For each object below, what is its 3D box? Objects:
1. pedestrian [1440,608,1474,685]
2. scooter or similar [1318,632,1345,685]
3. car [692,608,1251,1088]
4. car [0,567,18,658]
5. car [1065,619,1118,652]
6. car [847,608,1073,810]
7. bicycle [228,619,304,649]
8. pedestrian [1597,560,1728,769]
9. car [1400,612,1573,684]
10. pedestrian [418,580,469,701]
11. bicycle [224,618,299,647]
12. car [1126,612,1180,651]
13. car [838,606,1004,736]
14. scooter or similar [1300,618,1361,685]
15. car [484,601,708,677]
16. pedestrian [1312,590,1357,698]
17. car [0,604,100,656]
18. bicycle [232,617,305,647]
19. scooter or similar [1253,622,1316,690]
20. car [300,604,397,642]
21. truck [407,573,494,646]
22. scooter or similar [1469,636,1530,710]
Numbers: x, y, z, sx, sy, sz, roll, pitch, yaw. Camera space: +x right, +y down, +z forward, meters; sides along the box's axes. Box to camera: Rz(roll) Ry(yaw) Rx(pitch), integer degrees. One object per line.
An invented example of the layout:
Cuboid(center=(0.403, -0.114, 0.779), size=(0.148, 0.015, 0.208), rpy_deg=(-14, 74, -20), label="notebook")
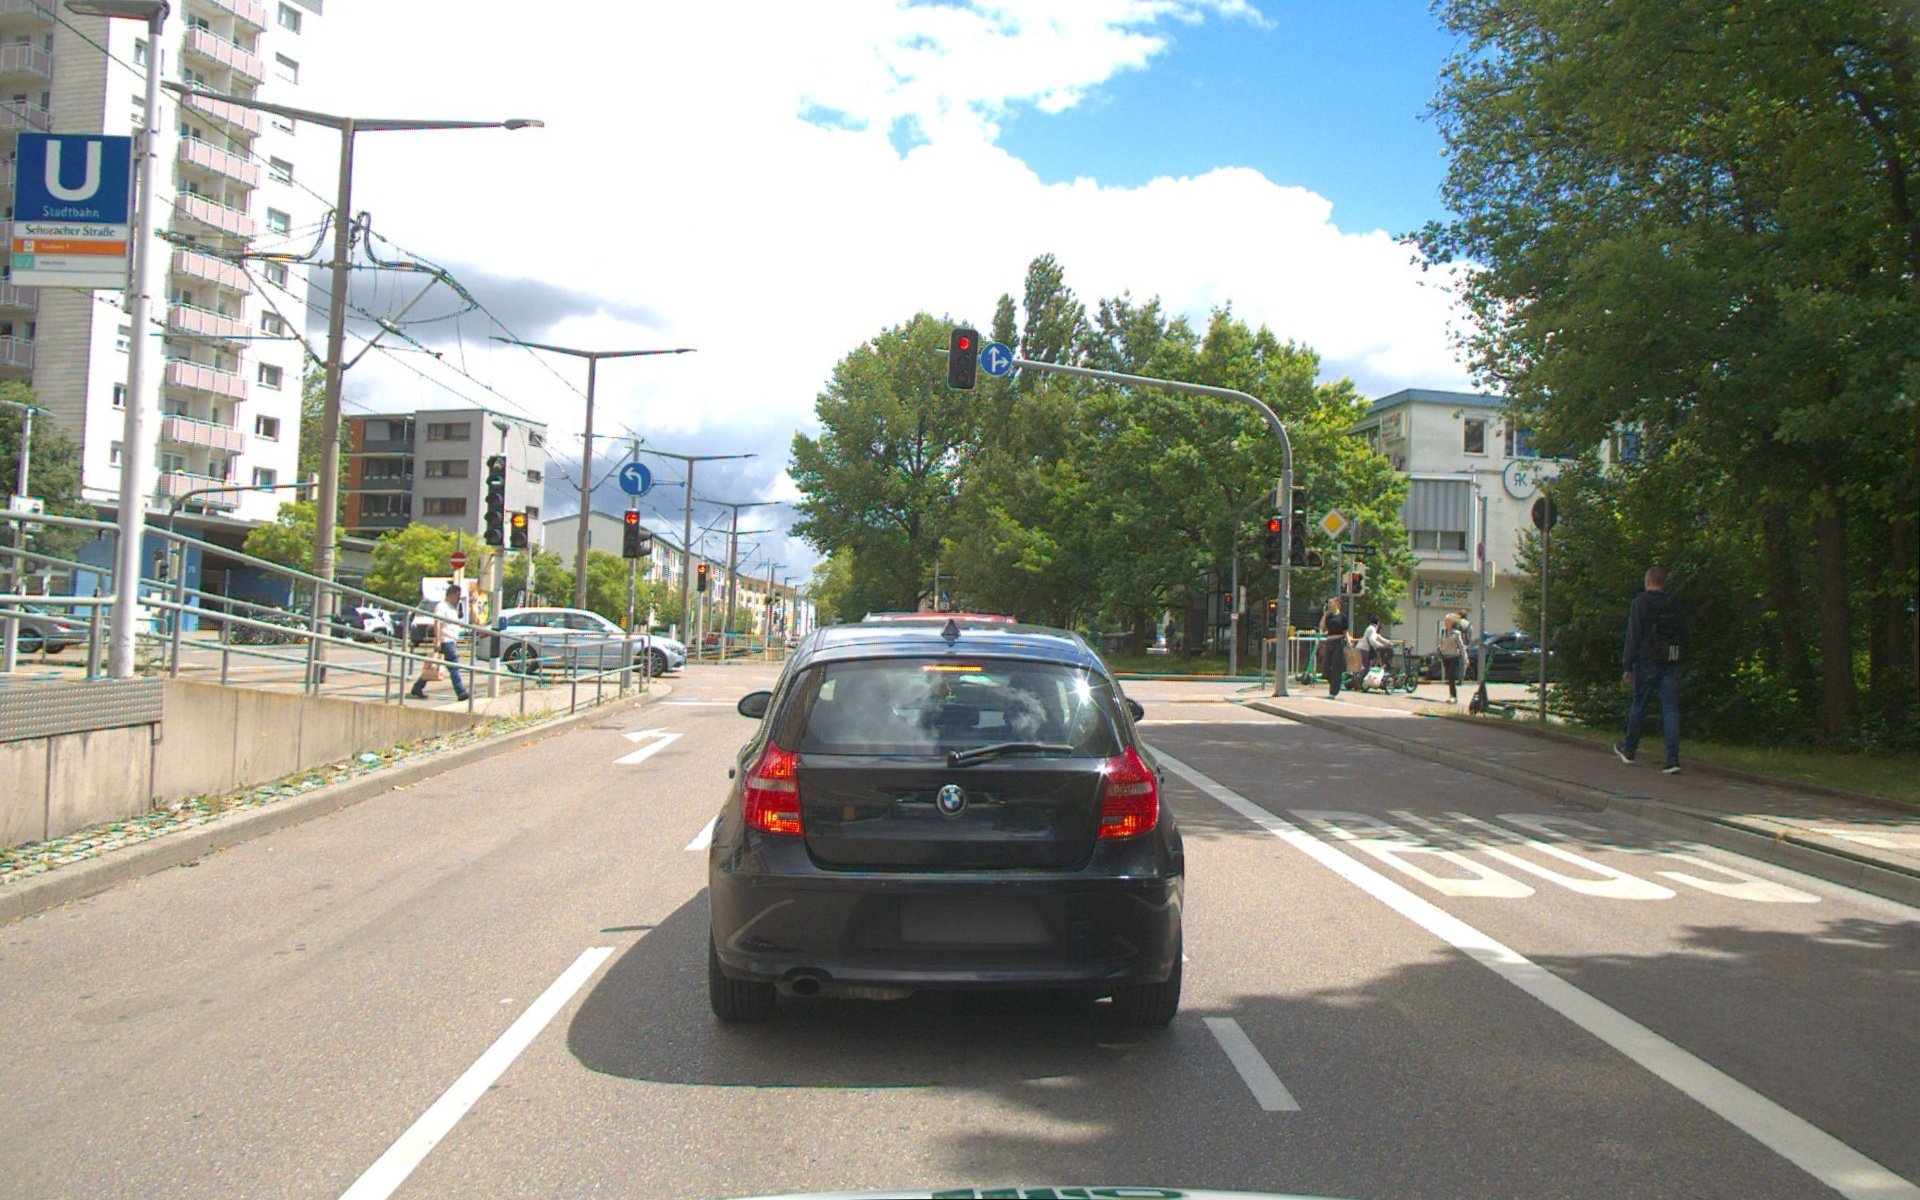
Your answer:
Cuboid(center=(11.429, 1.064, 38.054), size=(0.644, 1.743, 0.461), rpy_deg=(1, -1, 29), label="pedestrian")
Cuboid(center=(7.869, 1.220, 34.998), size=(0.536, 1.082, 1.263), rpy_deg=(1, 0, 13), label="scooter or similar")
Cuboid(center=(0.014, 0.763, 6.714), size=(1.666, 1.424, 3.419), rpy_deg=(1, 0, -1), label="car")
Cuboid(center=(-23.000, 0.206, 34.812), size=(5.068, 1.926, 1.998), rpy_deg=(1, -1, -4), label="car")
Cuboid(center=(7.170, 1.939, 90.760), size=(1.830, 1.691, 3.988), rpy_deg=(2, -1, -12), label="car")
Cuboid(center=(-0.022, 0.793, 13.616), size=(1.605, 1.424, 3.419), rpy_deg=(1, 0, -1), label="car")
Cuboid(center=(-26.044, 1.275, 62.060), size=(2.528, 1.026, 0.748), rpy_deg=(3, -3, -29), label="bicycle")
Cuboid(center=(6.653, 0.595, 15.713), size=(0.779, 1.909, 1.013), rpy_deg=(1, -1, -1), label="pedestrian")
Cuboid(center=(15.504, 1.387, 48.786), size=(4.451, 2.049, 1.996), rpy_deg=(0, 0, -9), label="car")
Cuboid(center=(-7.694, 0.603, 24.671), size=(0.676, 1.764, 0.684), rpy_deg=(1, -1, -17), label="pedestrian")
Cuboid(center=(-26.540, 1.241, 62.822), size=(2.528, 1.026, 0.748), rpy_deg=(3, -3, -29), label="bicycle")
Cuboid(center=(9.835, 1.595, 84.473), size=(1.694, 1.904, 3.991), rpy_deg=(2, -1, -9), label="car")
Cuboid(center=(-0.479, 0.819, 21.078), size=(1.862, 1.447, 4.538), rpy_deg=(1, 0, -1), label="car")
Cuboid(center=(7.401, 1.024, 33.040), size=(1.126, 1.294, 0.555), rpy_deg=(1, -1, 8), label="scooter or similar")
Cuboid(center=(-8.043, 0.855, 36.980), size=(4.701, 1.549, 1.996), rpy_deg=(1, -1, -9), label="car")
Cuboid(center=(6.728, 0.790, 29.708), size=(0.633, 1.909, 0.510), rpy_deg=(2, -1, -43), label="pedestrian")
Cuboid(center=(-26.082, 0.784, 45.038), size=(4.360, 1.352, 1.676), rpy_deg=(1, 0, -8), label="car")
Cuboid(center=(-26.712, 1.243, 63.921), size=(2.528, 1.026, 0.748), rpy_deg=(3, -3, -29), label="bicycle")
Cuboid(center=(6.228, 1.069, 31.786), size=(1.087, 1.257, 0.539), rpy_deg=(1, -1, 1), label="scooter or similar")
Cuboid(center=(-28.583, 1.097, 77.381), size=(1.628, 1.676, 3.899), rpy_deg=(1, -1, 42), label="car")
Cuboid(center=(-23.632, 0.472, 77.065), size=(2.237, 3.172, 7.311), rpy_deg=(2, -1, -5), label="truck")
Cuboid(center=(9.348, 1.259, 28.666), size=(0.872, 1.252, 0.454), rpy_deg=(1, -1, -3), label="scooter or similar")
